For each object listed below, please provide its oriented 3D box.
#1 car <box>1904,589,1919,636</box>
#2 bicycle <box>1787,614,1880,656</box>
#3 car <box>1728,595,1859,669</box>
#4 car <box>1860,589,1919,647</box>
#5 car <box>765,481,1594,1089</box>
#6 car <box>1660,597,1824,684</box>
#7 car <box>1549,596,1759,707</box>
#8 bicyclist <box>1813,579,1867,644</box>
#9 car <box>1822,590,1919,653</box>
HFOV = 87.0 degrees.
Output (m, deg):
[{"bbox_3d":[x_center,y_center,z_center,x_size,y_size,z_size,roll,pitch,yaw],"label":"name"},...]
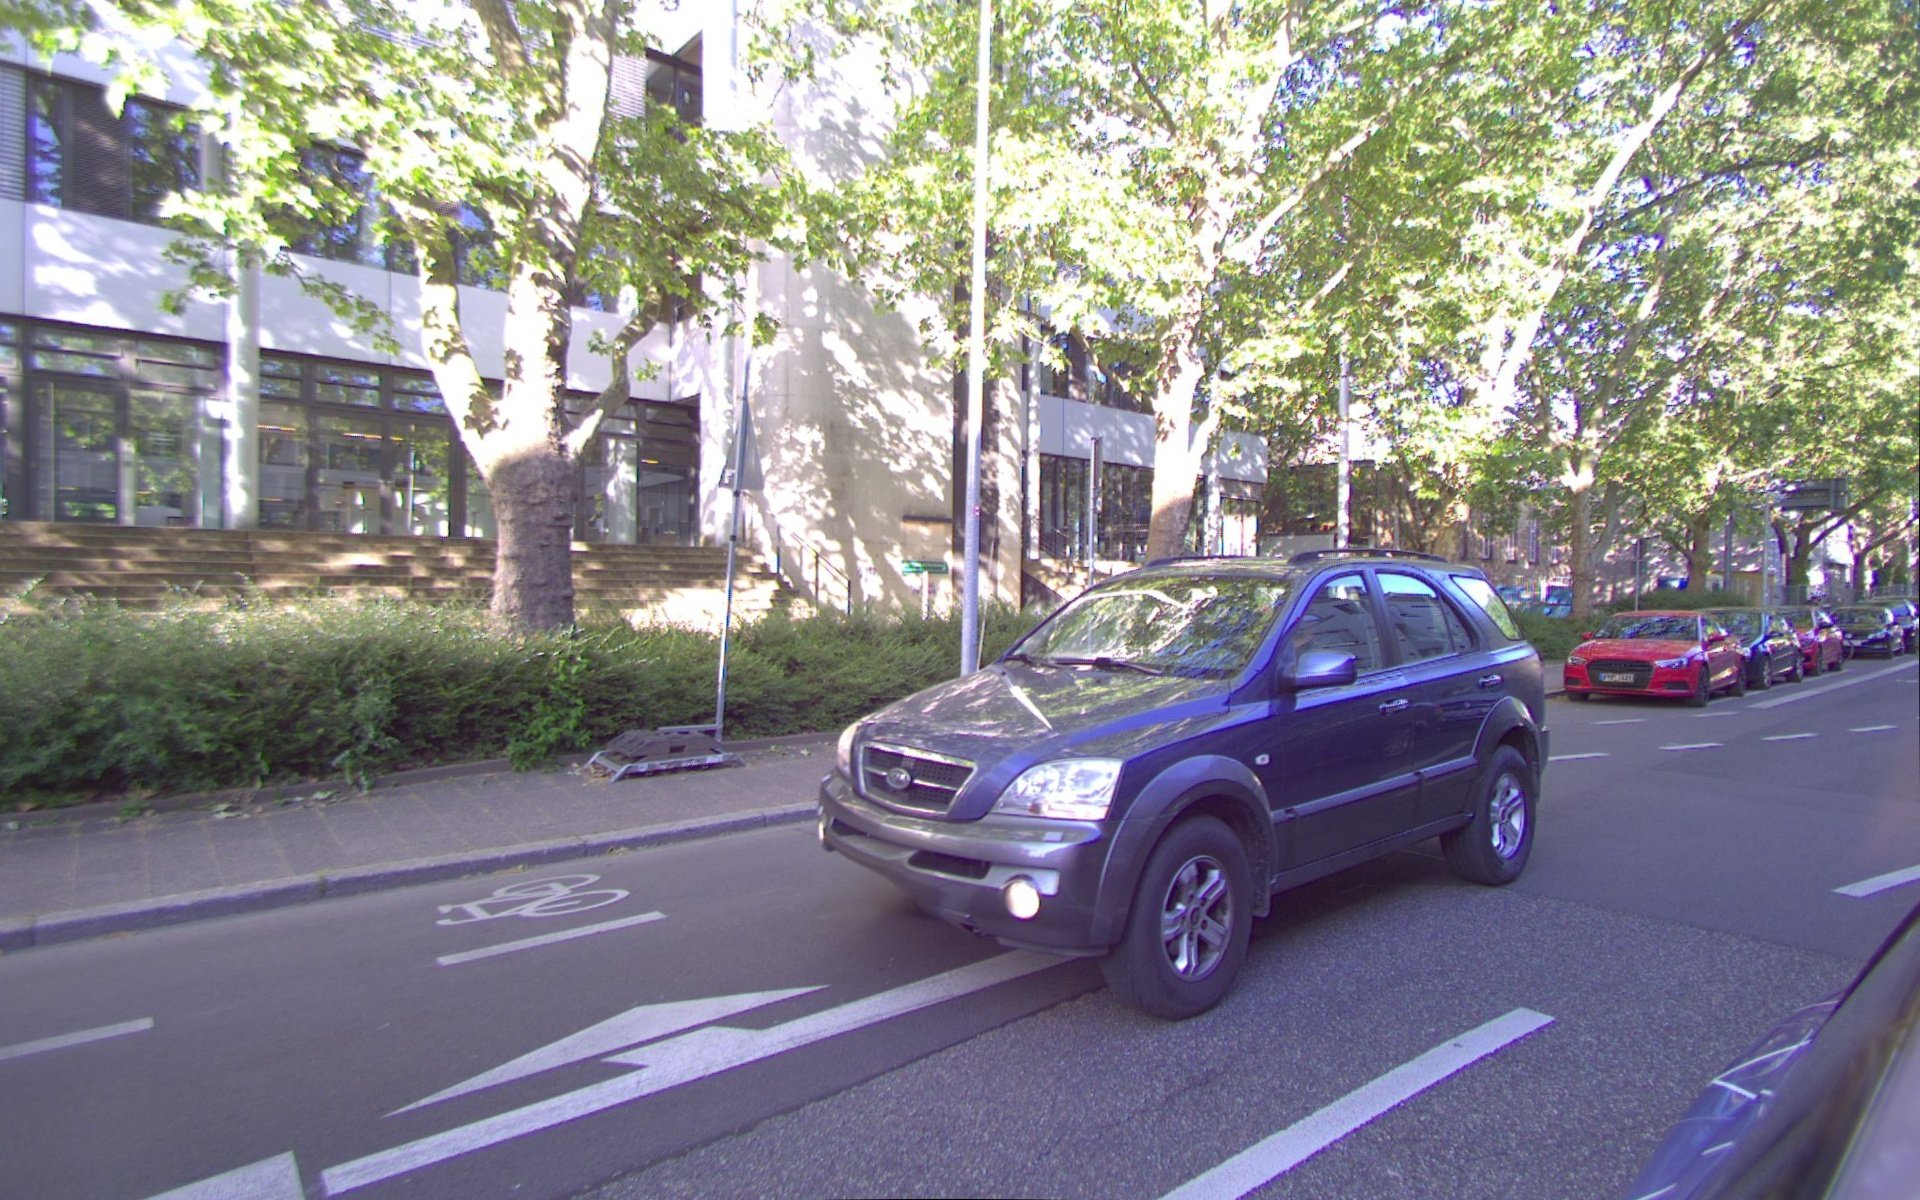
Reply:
[{"bbox_3d":[38.788,0.492,40.051,3.829,1.818,1.739,0,1,-42],"label":"car"},{"bbox_3d":[22.745,0.890,26.394,1.790,1.027,0.724,0,0,39],"label":"bicycle"},{"bbox_3d":[18.638,0.667,22.579,3.851,1.511,1.679,0,-1,-42],"label":"car"},{"bbox_3d":[29.694,0.531,31.840,3.840,1.708,1.633,0,1,-42],"label":"car"},{"bbox_3d":[1.375,0.548,5.070,4.306,1.793,1.784,0,-1,-40],"label":"car"},{"bbox_3d":[14.919,0.708,19.235,4.022,1.472,1.739,0,-1,-42],"label":"car"},{"bbox_3d":[11.151,0.733,16.165,4.071,1.548,1.827,0,-1,-42],"label":"car"},{"bbox_3d":[22.866,0.283,26.314,1.032,1.640,0.688,0,0,39],"label":"bicyclist"},{"bbox_3d":[25.991,0.563,28.777,4.022,1.653,1.739,0,1,-42],"label":"car"}]
